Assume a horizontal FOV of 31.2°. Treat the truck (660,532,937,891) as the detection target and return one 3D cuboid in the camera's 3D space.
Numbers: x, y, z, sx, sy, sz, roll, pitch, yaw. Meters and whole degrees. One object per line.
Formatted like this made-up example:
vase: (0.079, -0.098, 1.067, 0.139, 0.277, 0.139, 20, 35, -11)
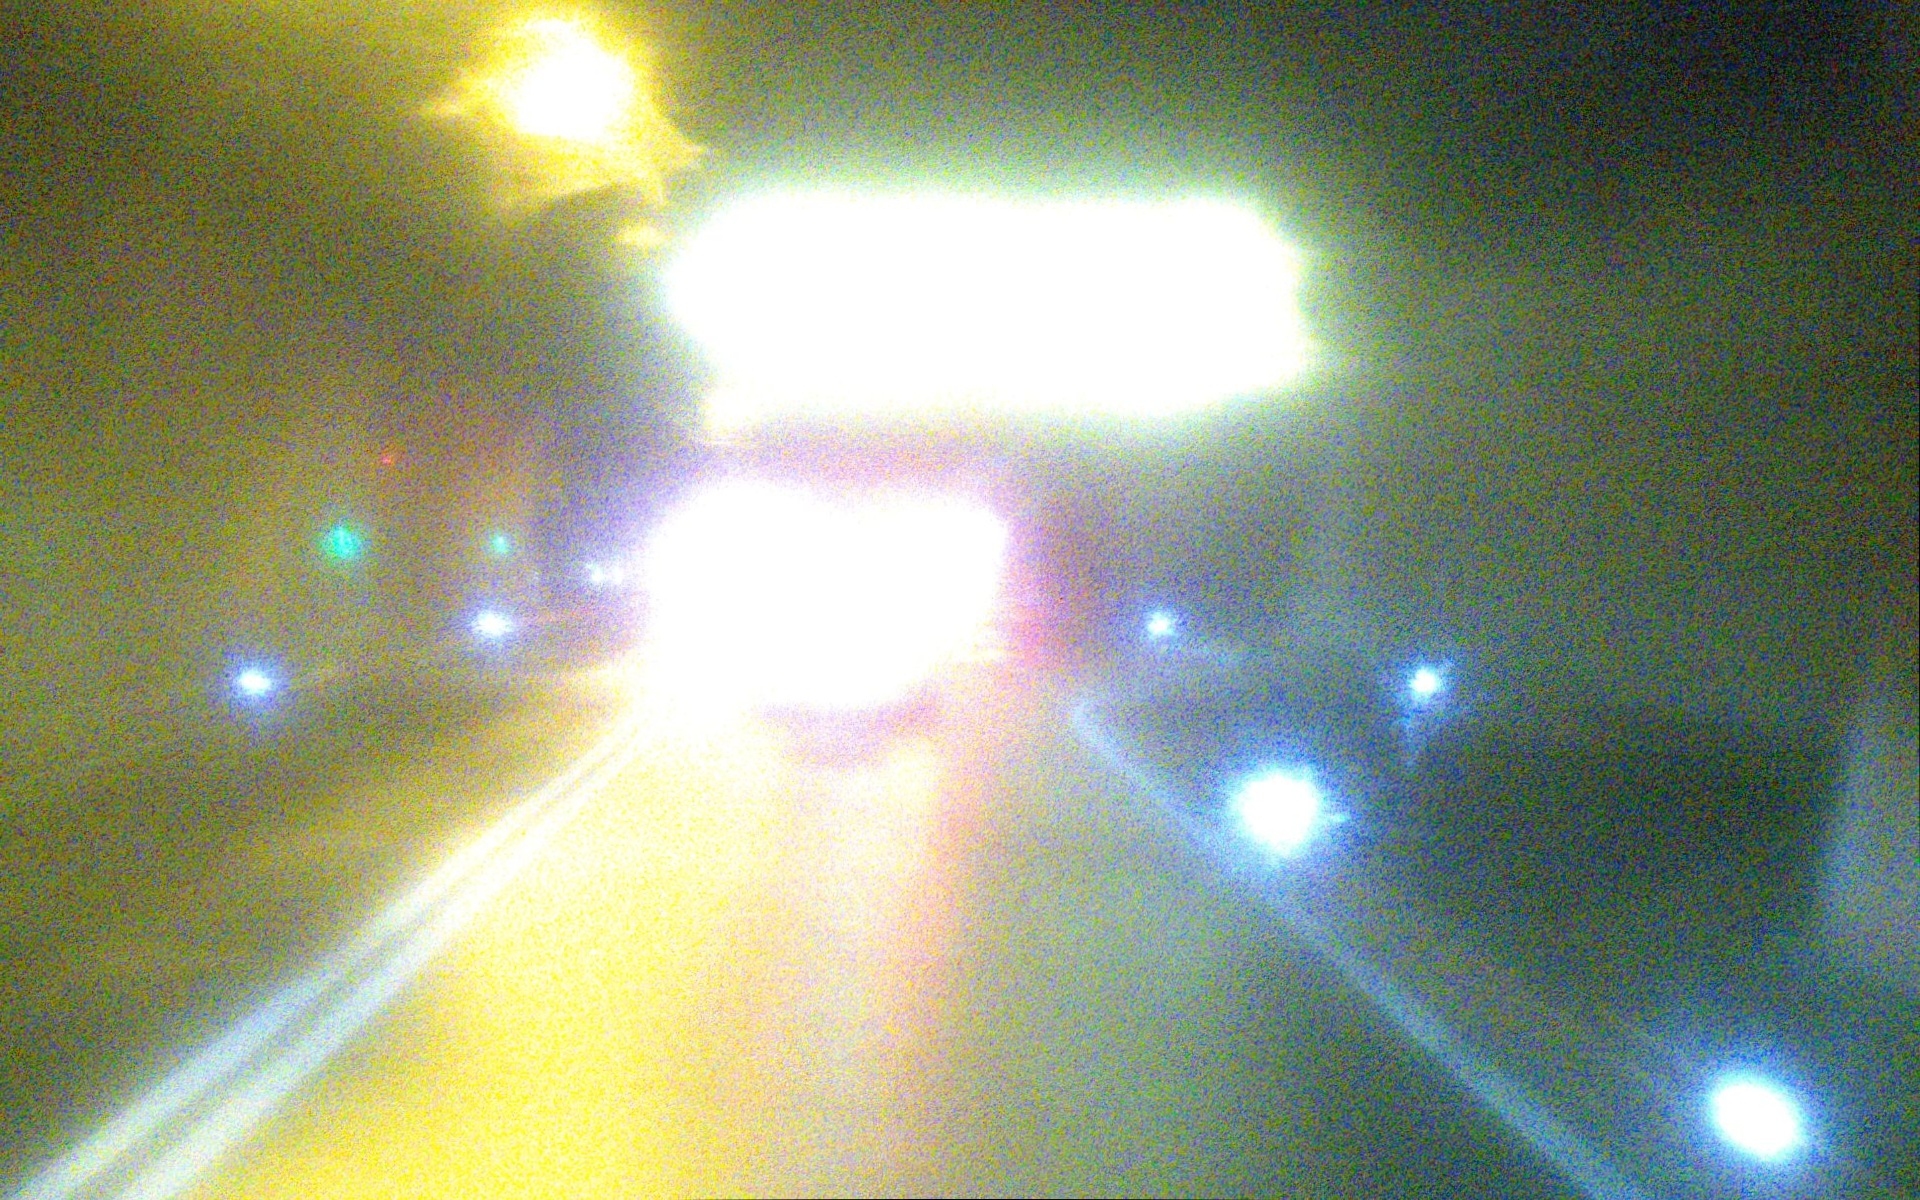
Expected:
truck: (-1.559, 0.897, 33.214, 2.262, 3.000, 7.416, 2, 1, -3)
